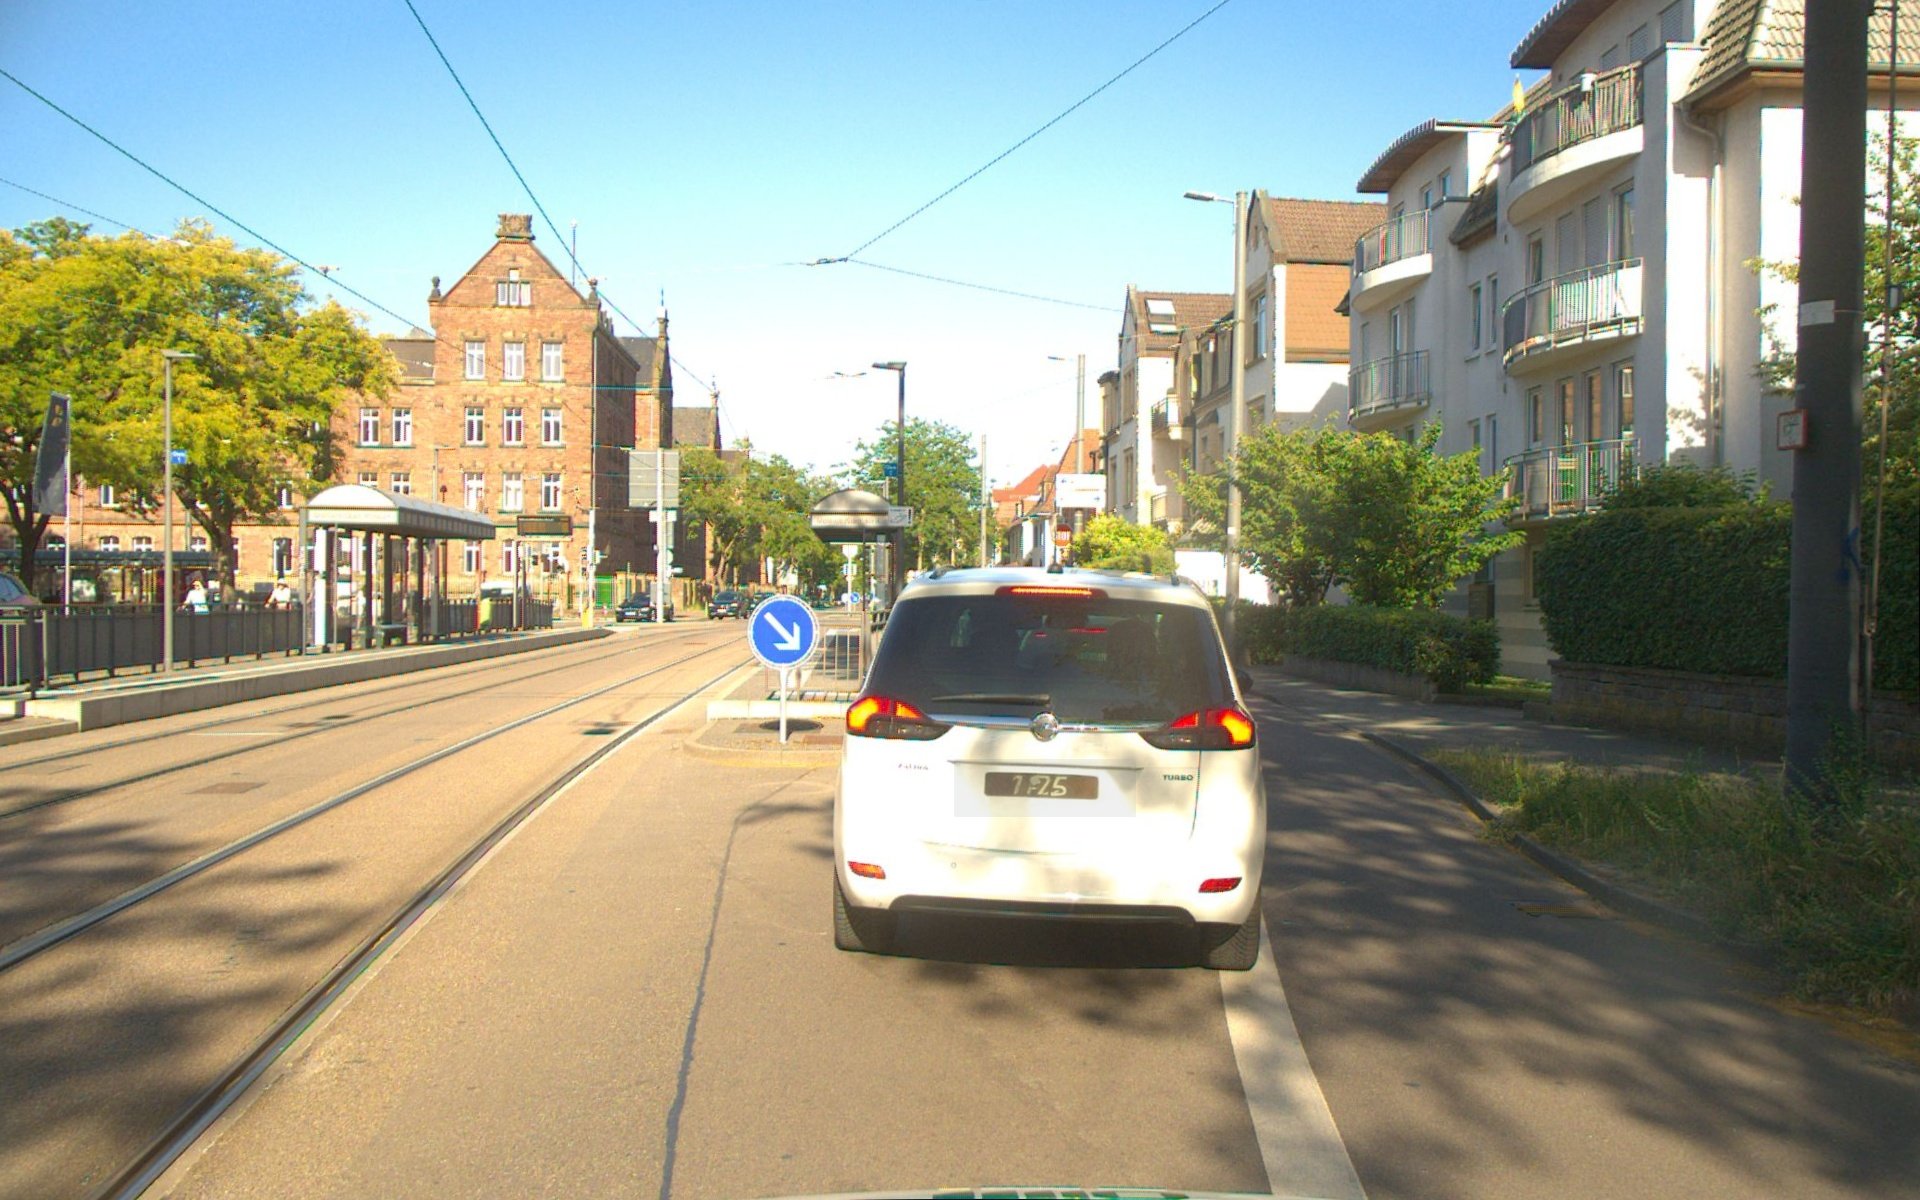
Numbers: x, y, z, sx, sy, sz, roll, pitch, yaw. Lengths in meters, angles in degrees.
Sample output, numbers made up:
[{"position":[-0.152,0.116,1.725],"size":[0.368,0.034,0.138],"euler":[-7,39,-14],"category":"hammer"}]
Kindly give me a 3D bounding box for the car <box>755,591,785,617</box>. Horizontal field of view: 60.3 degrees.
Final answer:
[{"position":[-13.637,0.303,118.719],"size":[1.790,1.819,4.325],"euler":[1,-1,-3],"category":"car"}]

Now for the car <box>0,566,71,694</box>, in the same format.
[{"position":[-13.177,0.383,21.223],"size":[1.784,1.635,4.349],"euler":[0,0,-10],"category":"car"}]

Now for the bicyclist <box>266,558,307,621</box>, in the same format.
[{"position":[-18.536,-0.303,45.550],"size":[0.637,1.703,1.232],"euler":[2,1,-3],"category":"bicyclist"}]

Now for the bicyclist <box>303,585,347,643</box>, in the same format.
[{"position":[-17.467,0.385,45.502],"size":[0.745,1.563,1.347],"euler":[0,0,-3],"category":"bicyclist"}]

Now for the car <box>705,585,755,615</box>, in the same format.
[{"position":[-13.120,0.001,94.472],"size":[1.788,1.645,4.330],"euler":[1,-1,7],"category":"car"}]

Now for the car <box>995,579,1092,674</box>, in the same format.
[{"position":[1.567,0.475,32.222],"size":[1.563,1.663,3.900],"euler":[2,0,-1],"category":"car"}]

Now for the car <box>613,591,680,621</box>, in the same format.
[{"position":[-15.076,0.273,79.751],"size":[1.760,1.406,4.499],"euler":[0,1,9],"category":"car"}]

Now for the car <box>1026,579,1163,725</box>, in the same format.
[{"position":[1.711,0.590,21.047],"size":[1.536,1.643,3.786],"euler":[2,0,5],"category":"car"}]

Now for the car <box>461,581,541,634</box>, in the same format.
[{"position":[-16.473,0.249,59.556],"size":[1.790,1.819,4.254],"euler":[0,0,-1],"category":"car"}]

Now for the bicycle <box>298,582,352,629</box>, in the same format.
[{"position":[-17.462,0.136,45.520],"size":[0.761,1.252,2.087],"euler":[0,0,-3],"category":"bicycle"}]

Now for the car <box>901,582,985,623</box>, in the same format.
[{"position":[-0.891,0.117,85.419],"size":[3.913,2.049,1.996],"euler":[0,0,30],"category":"car"}]

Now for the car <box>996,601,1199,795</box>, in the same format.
[{"position":[1.223,0.763,14.788],"size":[1.536,1.426,3.786],"euler":[2,0,5],"category":"car"}]

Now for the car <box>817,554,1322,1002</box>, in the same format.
[{"position":[0.555,0.637,8.083],"size":[1.838,1.613,4.002],"euler":[1,0,5],"category":"car"}]

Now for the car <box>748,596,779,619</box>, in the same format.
[{"position":[-12.758,0.486,107.466],"size":[1.791,1.471,4.323],"euler":[1,-1,-4],"category":"car"}]

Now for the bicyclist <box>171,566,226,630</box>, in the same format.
[{"position":[-18.223,-0.053,39.598],"size":[0.741,1.496,1.190],"euler":[1,0,-2],"category":"bicyclist"}]

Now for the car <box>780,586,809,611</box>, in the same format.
[{"position":[-13.897,-0.166,139.009],"size":[1.952,2.049,4.000],"euler":[0,0,0],"category":"car"}]

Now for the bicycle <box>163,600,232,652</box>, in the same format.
[{"position":[-18.244,0.608,39.614],"size":[0.799,1.219,1.952],"euler":[1,0,-2],"category":"bicycle"}]

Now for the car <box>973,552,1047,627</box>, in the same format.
[{"position":[1.174,-0.299,40.239],"size":[1.563,1.663,3.901],"euler":[2,2,-1],"category":"car"}]

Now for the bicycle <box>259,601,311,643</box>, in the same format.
[{"position":[-18.564,0.601,45.516],"size":[0.655,1.091,2.014],"euler":[1,1,-3],"category":"bicycle"}]
